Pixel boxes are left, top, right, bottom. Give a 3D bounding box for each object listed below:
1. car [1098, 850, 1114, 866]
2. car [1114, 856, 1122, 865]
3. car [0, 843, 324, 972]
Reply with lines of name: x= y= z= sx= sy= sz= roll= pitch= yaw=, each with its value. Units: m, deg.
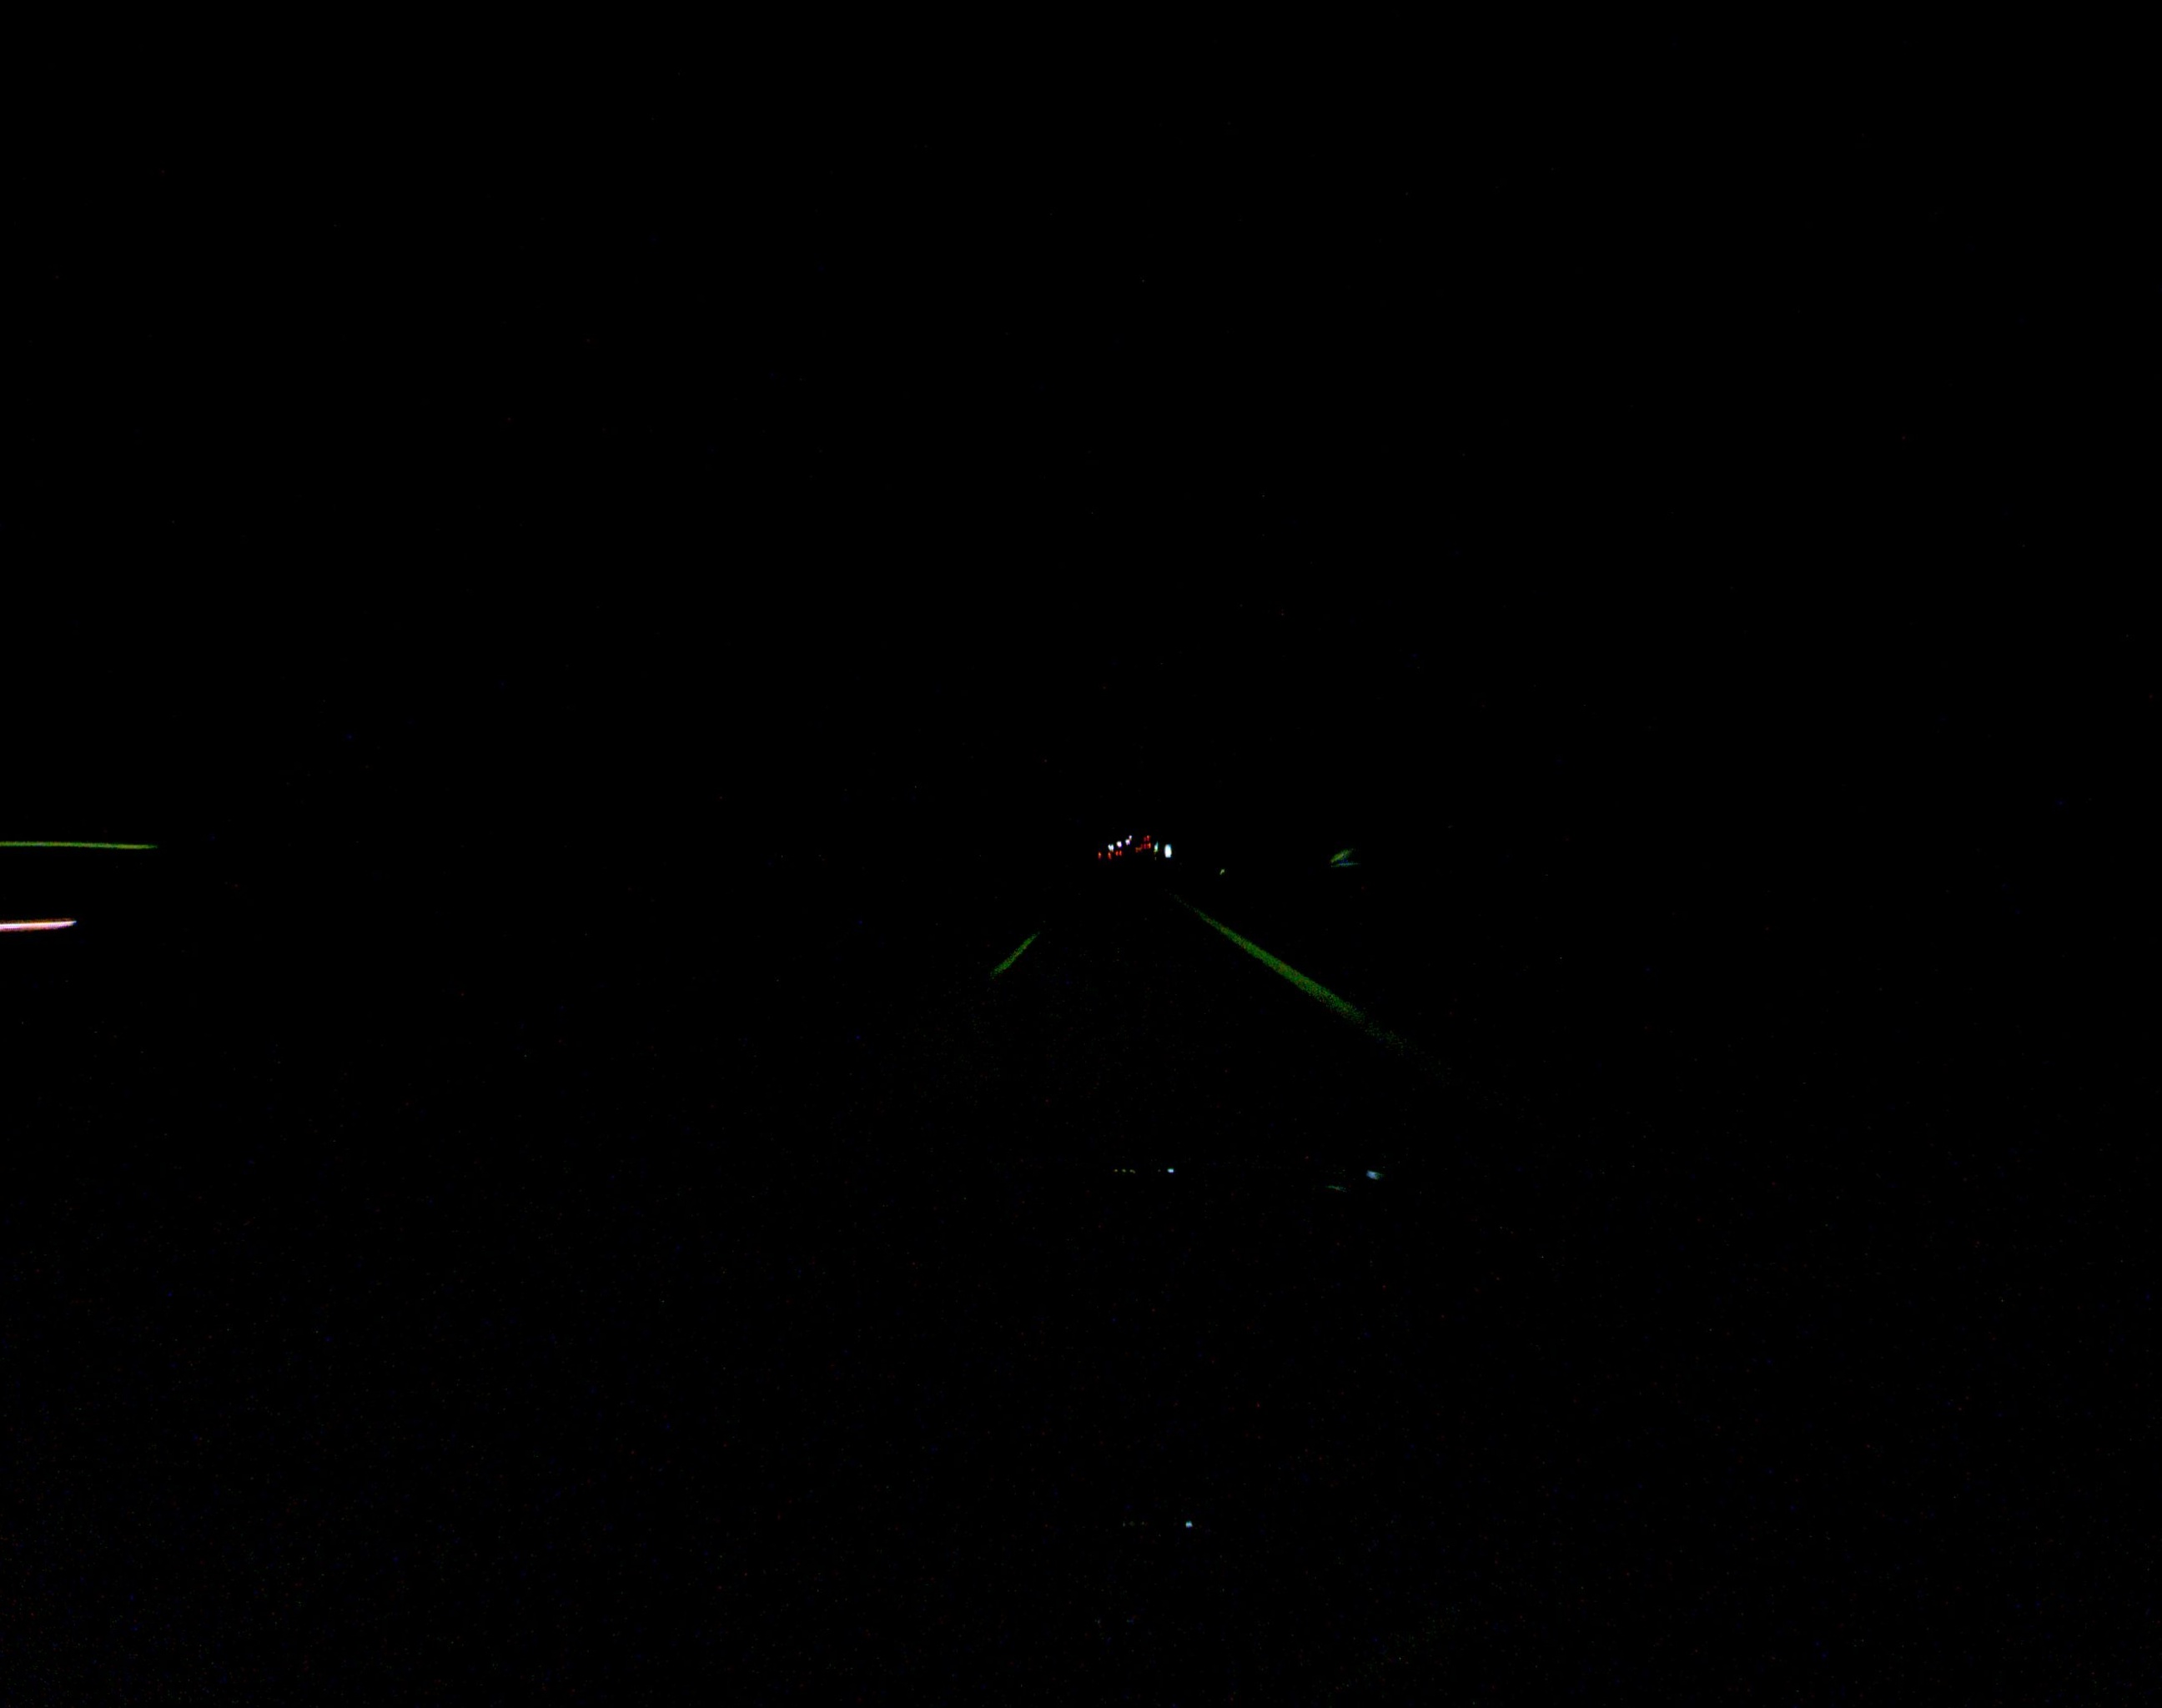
car: x=4.673 y=0.771 z=152.657 sx=2.775 sy=2.733 sz=6.304 roll=-1 pitch=-1 yaw=3
car: x=11.890 y=2.009 z=261.931 sx=2.776 sy=2.733 sz=6.302 roll=-1 pitch=-1 yaw=2
car: x=-21.702 y=1.072 z=18.603 sx=2.382 sy=2.452 sz=6.673 roll=0 pitch=-1 yaw=2
